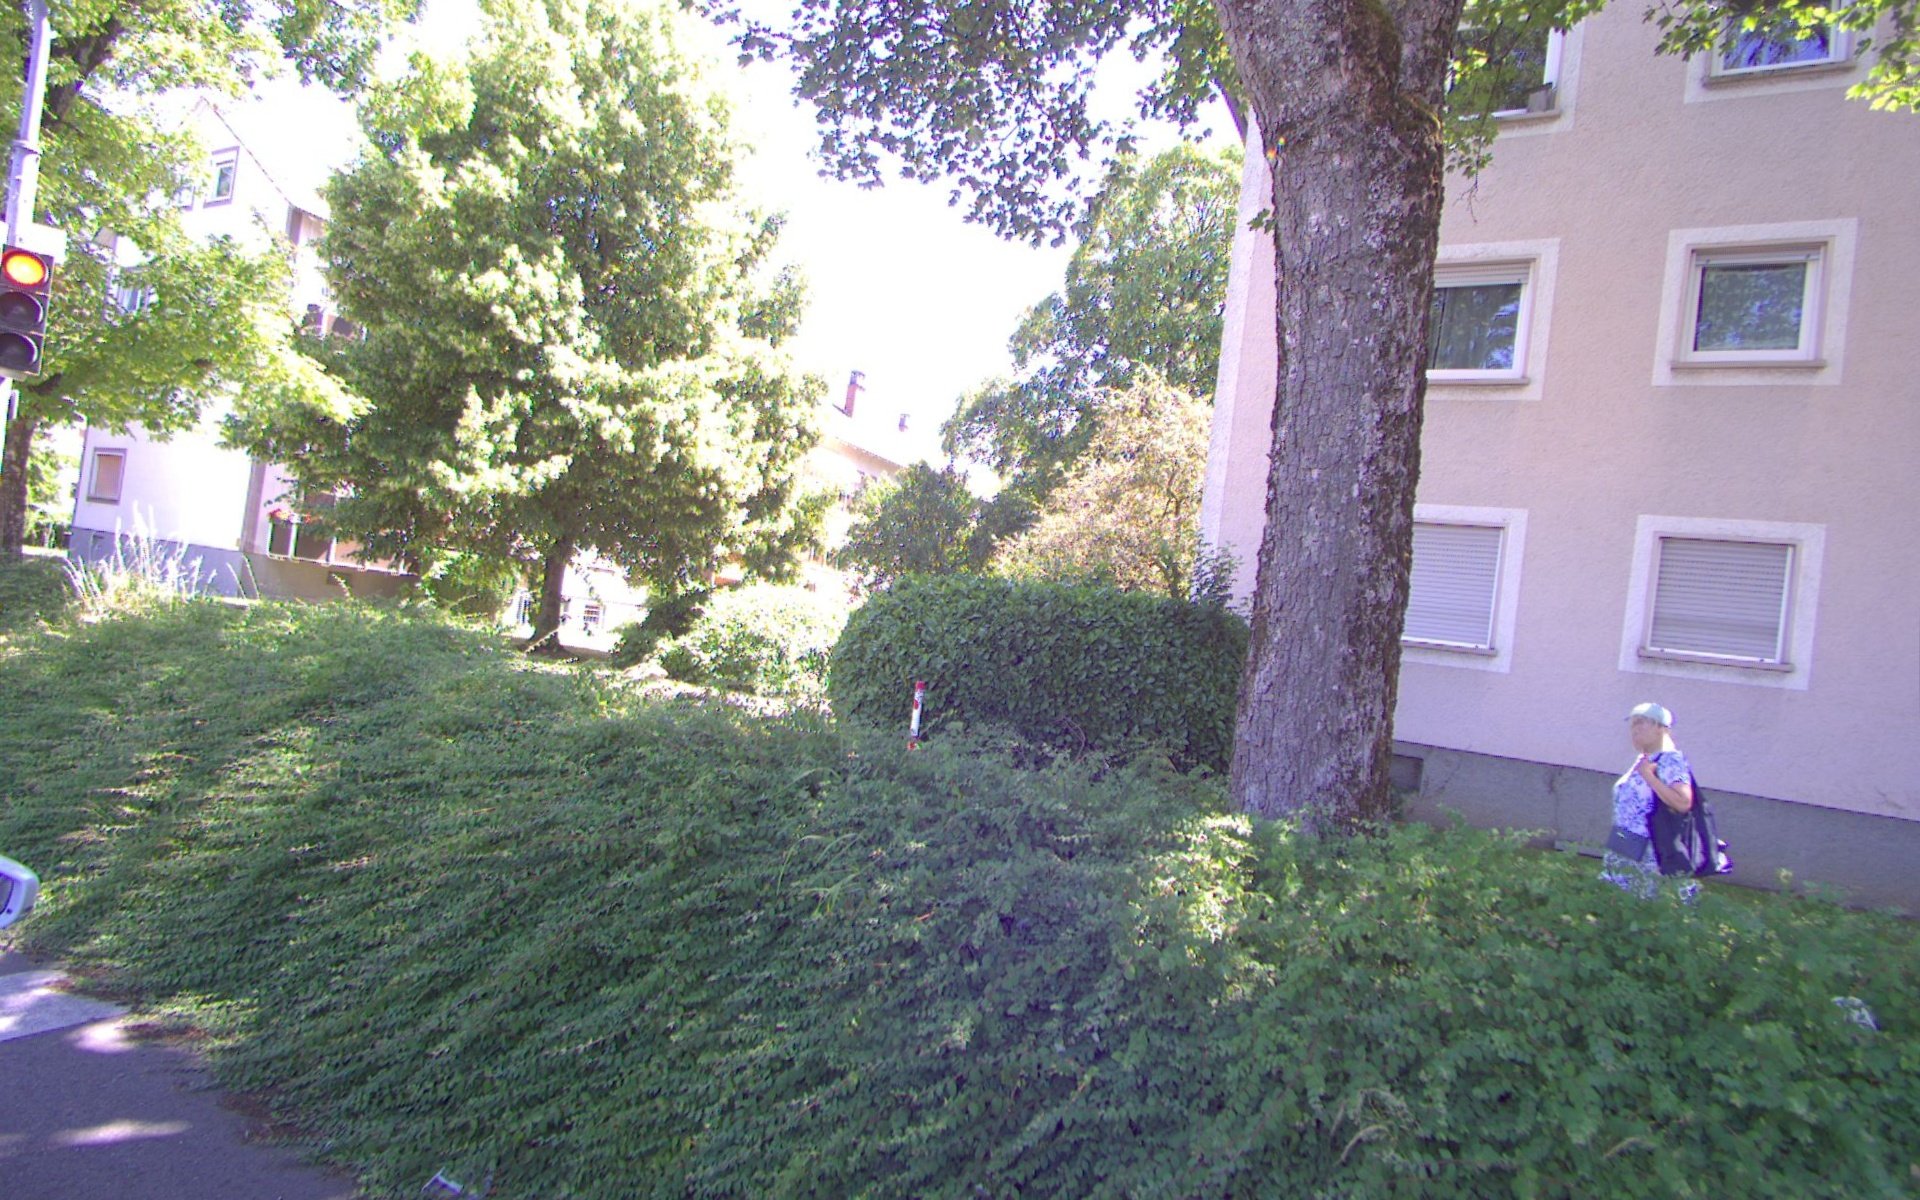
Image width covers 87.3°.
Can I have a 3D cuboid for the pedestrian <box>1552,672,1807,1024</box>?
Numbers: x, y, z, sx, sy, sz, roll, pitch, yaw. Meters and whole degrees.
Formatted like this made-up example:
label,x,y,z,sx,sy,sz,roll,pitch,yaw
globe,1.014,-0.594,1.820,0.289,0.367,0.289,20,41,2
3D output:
label,x,y,z,sx,sy,sz,roll,pitch,yaw
pedestrian,3.878,1.275,5.510,0.836,1.653,0.720,7,0,23
